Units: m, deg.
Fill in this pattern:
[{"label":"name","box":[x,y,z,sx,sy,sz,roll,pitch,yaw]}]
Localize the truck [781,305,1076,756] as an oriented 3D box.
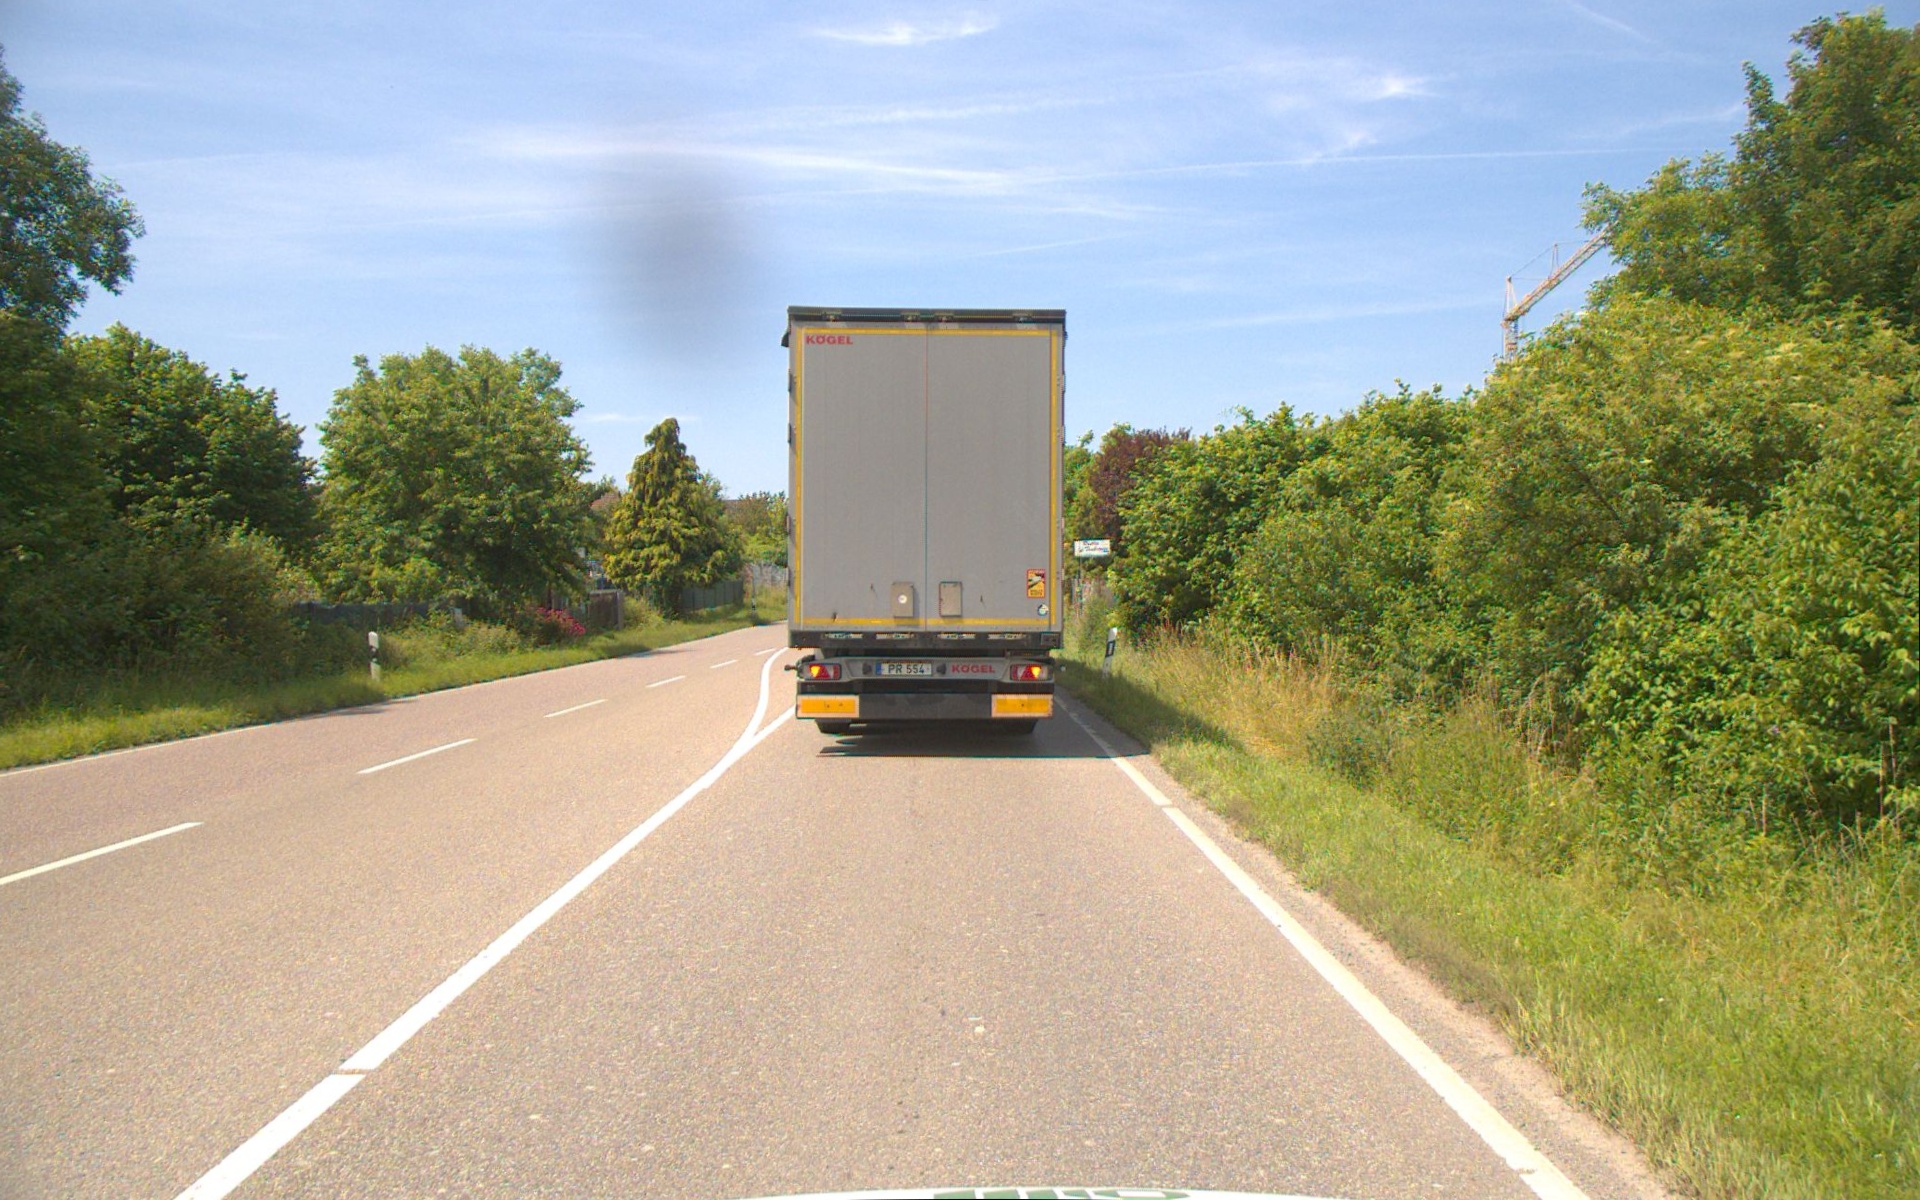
[{"label":"truck","box":[-0.419,-0.626,19.115,2.594,3.985,8.822,0,0,-2]}]
